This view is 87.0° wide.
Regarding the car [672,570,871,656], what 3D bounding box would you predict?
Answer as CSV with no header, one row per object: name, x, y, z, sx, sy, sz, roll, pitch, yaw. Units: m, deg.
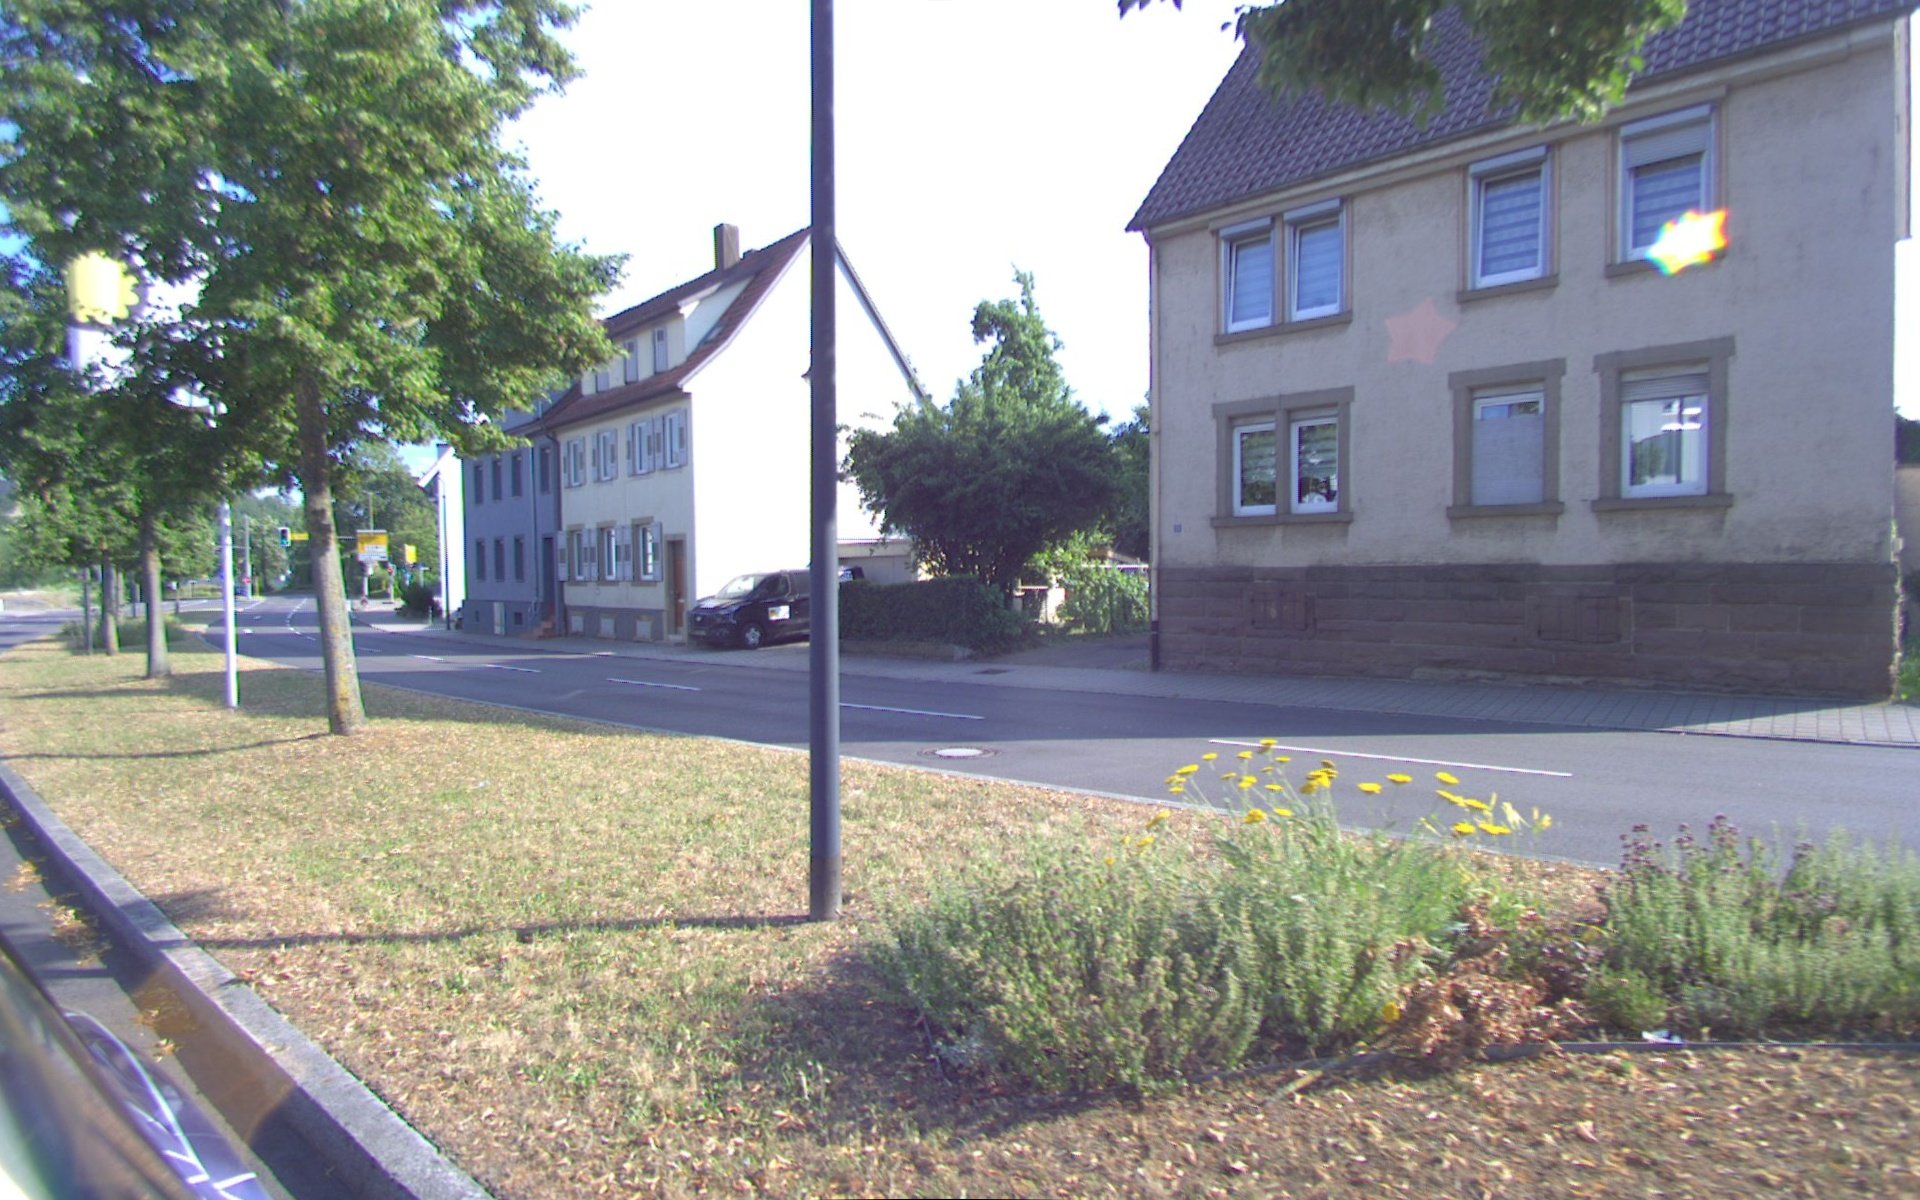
car,-4.901,0.278,26.762,4.767,1.891,2.002,-4,2,-42
